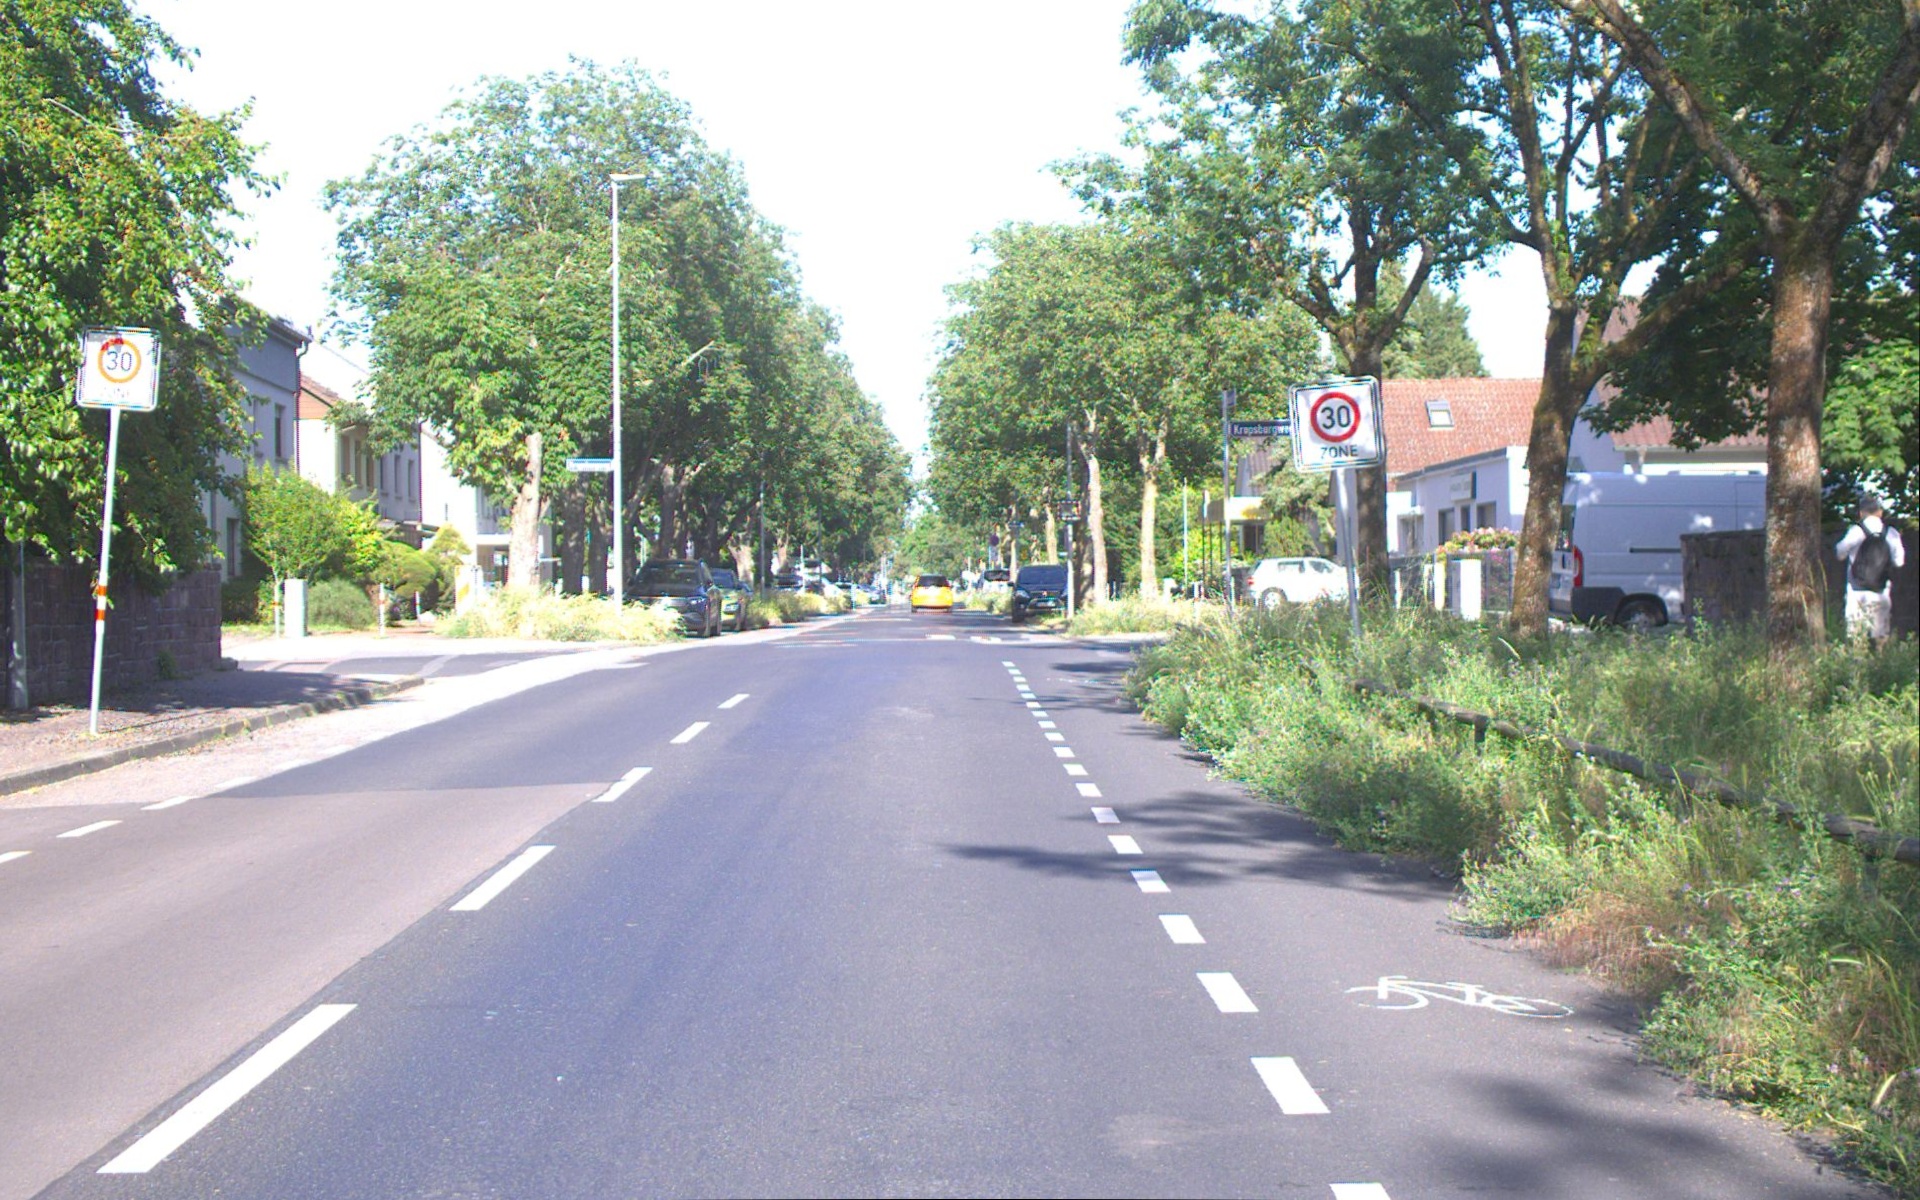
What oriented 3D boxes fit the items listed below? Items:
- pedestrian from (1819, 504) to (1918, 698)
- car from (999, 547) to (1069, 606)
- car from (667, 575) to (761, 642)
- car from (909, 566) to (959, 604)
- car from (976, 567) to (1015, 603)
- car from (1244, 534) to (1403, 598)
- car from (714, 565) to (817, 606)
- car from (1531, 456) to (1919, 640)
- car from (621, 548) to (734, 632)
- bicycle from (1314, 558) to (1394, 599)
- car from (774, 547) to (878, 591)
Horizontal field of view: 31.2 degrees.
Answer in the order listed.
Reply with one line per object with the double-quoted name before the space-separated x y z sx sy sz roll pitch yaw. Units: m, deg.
"pedestrian" 8.205 0.002 31.055 0.637 1.700 0.612 -3 2 -1
"car" 2.138 -0.677 100.802 1.853 1.620 4.469 -2 0 -1
"car" -6.078 0.224 85.384 1.939 1.603 4.383 1 -1 1
"car" -1.090 -0.620 141.250 1.888 1.474 3.888 1 0 -2
"car" 1.802 -0.772 174.180 1.902 1.768 4.301 1 0 0
"car" 9.798 -0.927 92.850 3.987 1.483 1.902 -3 2 -1
"car" -8.800 -0.666 155.232 4.545 1.759 2.001 0 2 -5
"car" 11.326 -0.767 49.966 5.594 2.530 2.266 -1 1 -3
"car" -6.002 -0.189 73.517 1.953 1.721 4.875 1 -1 1
"bicycle" 10.279 -0.560 89.725 1.958 0.995 0.576 -2 2 -2
"car" -7.130 -1.661 183.181 5.498 2.240 2.517 1 2 -2
